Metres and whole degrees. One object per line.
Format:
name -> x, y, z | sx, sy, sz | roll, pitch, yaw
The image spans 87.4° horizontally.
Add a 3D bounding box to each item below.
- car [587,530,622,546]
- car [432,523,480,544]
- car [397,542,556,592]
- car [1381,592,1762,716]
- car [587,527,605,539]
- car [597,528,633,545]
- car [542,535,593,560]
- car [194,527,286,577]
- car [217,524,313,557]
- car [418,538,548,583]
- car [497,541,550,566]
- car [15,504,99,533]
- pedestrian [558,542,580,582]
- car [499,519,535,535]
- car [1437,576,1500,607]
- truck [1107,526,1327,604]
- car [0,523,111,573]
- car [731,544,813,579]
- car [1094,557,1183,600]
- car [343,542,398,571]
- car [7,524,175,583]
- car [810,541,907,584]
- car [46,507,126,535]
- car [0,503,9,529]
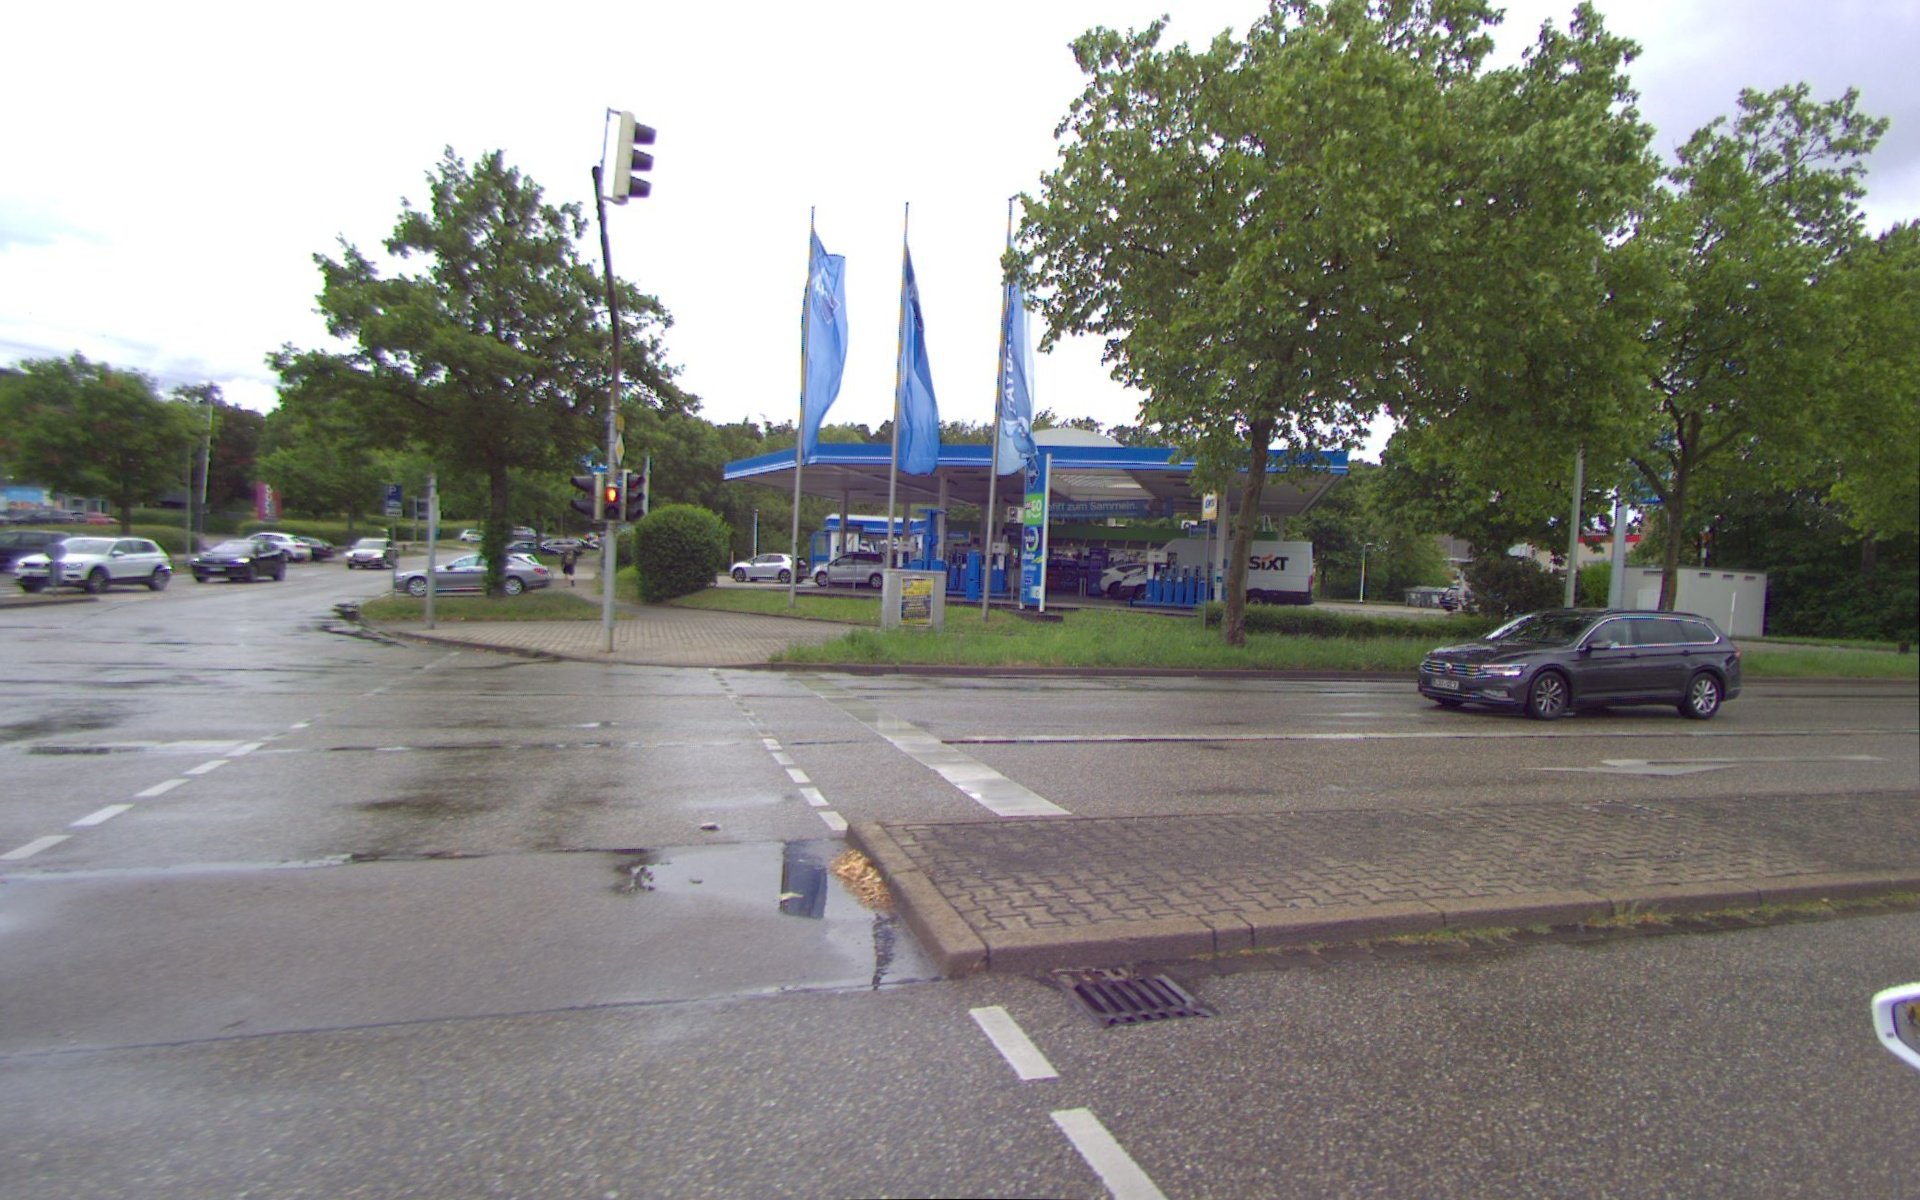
car -> -44.874, -7.812, 126.868 | 3.936, 1.762, 1.803 | 2, 1, -17
car -> -49.913, -6.574, 99.578 | 3.937, 1.818, 1.849 | 1, 1, -18
car -> -17.066, -1.158, 35.749 | 4.825, 1.570, 1.992 | 1, 1, -19
car -> 8.580, 0.728, 14.190 | 4.654, 1.528, 1.992 | 2, 1, -17
car -> -51.455, -9.458, 141.974 | 1.781, 1.502, 3.742 | 2, 1, -12
car -> -41.224, -7.530, 120.060 | 3.936, 1.762, 1.803 | 2, 1, -17
car -> -31.859, -4.236, 81.521 | 3.650, 1.773, 1.691 | 2, 1, -17
car -> -27.549, -1.843, 38.558 | 1.574, 1.719, 3.529 | 2, 2, -13
car -> -40.152, -3.415, 58.114 | 4.214, 1.631, 1.679 | 2, 1, -15
car -> -19.308, -1.571, 40.846 | 4.515, 1.610, 1.921 | 2, 1, -19
car -> -32.369, -3.433, 74.567 | 3.415, 1.676, 1.610 | 2, 1, -17
car -> -59.377, -5.340, 66.105 | 3.758, 1.667, 1.670 | 2, 1, -10
pedestrian -> -16.970, -1.655, 43.617 | 0.798, 1.684, 0.883 | 1, 1, -17
car -> -56.985, -9.389, 129.232 | 3.932, 1.818, 1.851 | 1, 1, -14
car -> 32.722, -0.519, 64.660 | 3.961, 1.862, 1.980 | 1, 1, -36
truck -> 9.567, -1.327, 37.837 | 7.714, 2.711, 2.156 | 2, 1, 14
car -> -34.516, -1.955, 37.732 | 3.603, 1.748, 1.678 | 2, 1, -18
car -> -10.147, -2.090, 54.242 | 3.920, 1.751, 1.795 | 2, 1, 16
car -> 7.747, -0.931, 43.532 | 3.493, 1.603, 1.689 | 4, 2, 20
car -> -32.734, -2.390, 55.851 | 1.674, 1.475, 3.661 | 1, 1, -15
car -> -25.259, -1.300, 29.398 | 1.867, 1.574, 3.994 | 1, 1, -9
car -> -4.716, -1.785, 46.884 | 4.045, 1.832, 1.946 | 3, 4, 16
car -> -59.842, -5.410, 68.843 | 3.758, 1.667, 1.670 | 2, 1, -10
car -> -64.651, -5.576, 65.276 | 3.758, 1.667, 1.670 | 2, 1, -10
